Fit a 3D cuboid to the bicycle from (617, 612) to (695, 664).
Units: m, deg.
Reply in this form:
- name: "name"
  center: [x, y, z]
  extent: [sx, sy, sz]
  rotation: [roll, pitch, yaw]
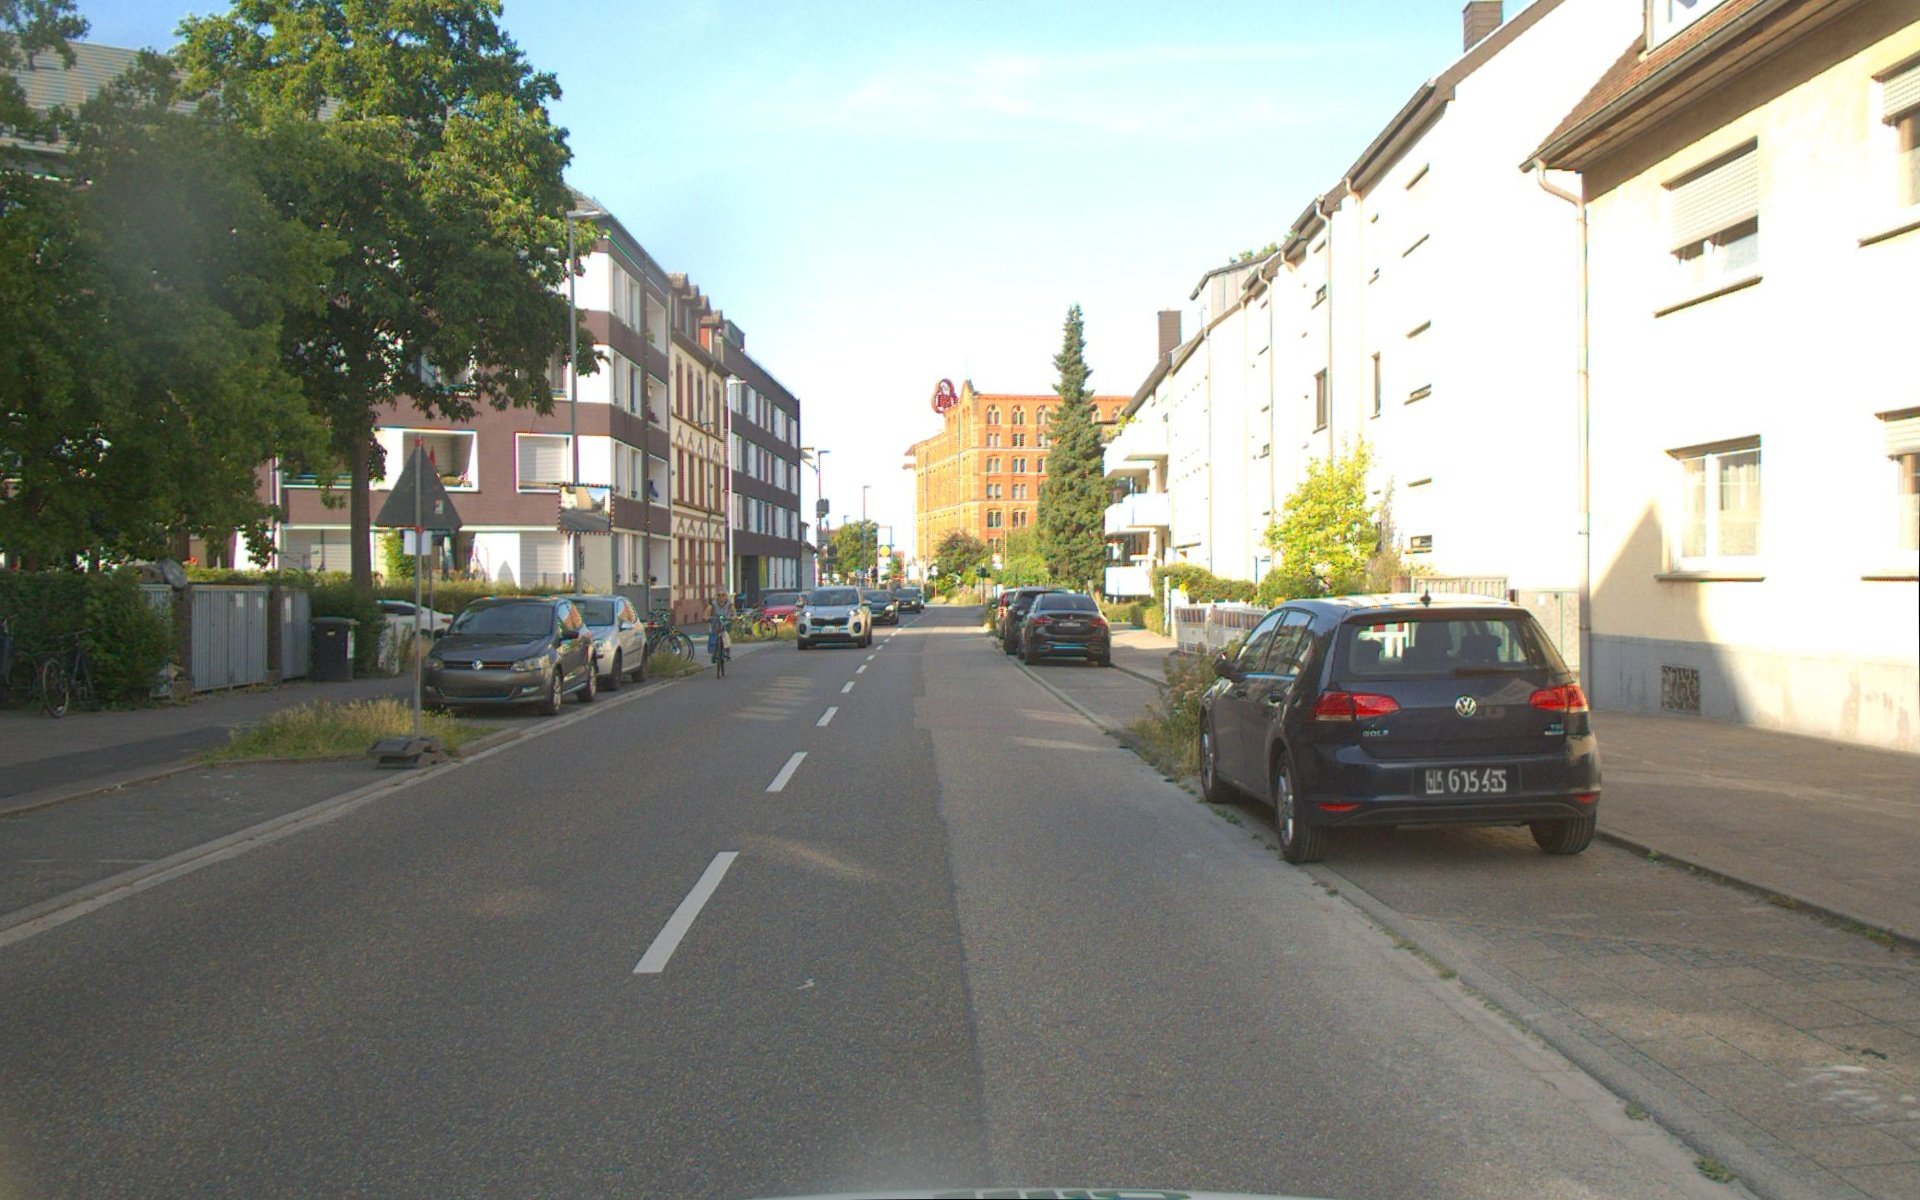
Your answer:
- name: "bicycle"
  center: [-6.398, 0.794, 34.846]
  extent: [1.555, 1.059, 0.707]
  rotation: [-1, 0, -7]

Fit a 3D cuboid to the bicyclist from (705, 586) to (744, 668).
- name: "bicyclist"
  center: [-4.278, 0.488, 30.078]
  extent: [0.578, 1.467, 0.750]
  rotation: [-1, 0, 0]

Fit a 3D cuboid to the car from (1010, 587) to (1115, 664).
- name: "car"
  center: [2.110, 0.500, 34.903]
  extent: [1.821, 1.497, 3.999]
  rotation: [-1, 0, -2]

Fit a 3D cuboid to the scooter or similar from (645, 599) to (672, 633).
- name: "scooter or similar"
  center: [-10.448, 0.545, 57.359]
  extent: [0.620, 1.123, 1.610]
  rotation: [1, 0, -1]

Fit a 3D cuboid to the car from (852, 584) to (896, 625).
- name: "car"
  center: [-3.640, 0.184, 70.464]
  extent: [1.728, 1.644, 3.999]
  rotation: [-1, 0, -2]

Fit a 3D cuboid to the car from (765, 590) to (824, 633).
- name: "car"
  center: [-5.946, 0.401, 59.612]
  extent: [1.803, 1.489, 3.584]
  rotation: [-1, 0, -1]

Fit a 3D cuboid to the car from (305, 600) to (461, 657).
- name: "car"
  center: [-14.450, 0.681, 41.437]
  extent: [3.416, 1.310, 1.645]
  rotation: [-1, 0, -33]

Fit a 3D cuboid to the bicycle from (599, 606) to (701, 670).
- name: "bicycle"
  center: [-6.222, 0.756, 33.260]
  extent: [1.963, 1.238, 0.707]
  rotation: [-1, 0, -7]

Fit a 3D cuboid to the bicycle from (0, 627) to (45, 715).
- name: "bicycle"
  center: [-11.464, 0.841, 19.569]
  extent: [0.452, 1.011, 1.681]
  rotation: [-1, 0, -5]

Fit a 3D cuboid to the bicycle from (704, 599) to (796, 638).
- name: "bicycle"
  center: [-6.575, 0.573, 51.861]
  extent: [2.716, 1.164, 1.143]
  rotation: [-1, 0, -1]

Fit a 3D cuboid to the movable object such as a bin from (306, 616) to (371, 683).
- name: "movable object such as a bin"
  center: [-10.312, 0.815, 27.465]
  extent: [0.737, 1.058, 0.816]
  rotation: [2, 0, -1]

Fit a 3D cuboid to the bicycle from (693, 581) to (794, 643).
- name: "bicycle"
  center: [-6.539, 0.359, 50.089]
  extent: [2.858, 1.808, 1.202]
  rotation: [-1, 0, -1]

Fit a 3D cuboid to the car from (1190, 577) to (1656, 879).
- name: "car"
  center: [2.667, 0.644, 10.504]
  extent: [1.792, 1.508, 3.942]
  rotation: [-1, 0, -1]

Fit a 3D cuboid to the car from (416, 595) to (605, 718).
- name: "car"
  center: [-5.742, 0.666, 21.552]
  extent: [1.542, 1.445, 3.802]
  rotation: [0, 0, -2]

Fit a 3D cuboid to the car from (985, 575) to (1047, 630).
- name: "car"
  center: [1.890, 0.074, 57.270]
  extent: [1.953, 1.803, 3.999]
  rotation: [0, 0, -1]

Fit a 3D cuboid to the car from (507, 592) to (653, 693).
- name: "car"
  center: [-6.149, 0.635, 27.138]
  extent: [1.643, 1.528, 3.998]
  rotation: [0, 0, -3]

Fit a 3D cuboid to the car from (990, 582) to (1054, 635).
- name: "car"
  center: [1.903, 0.251, 51.865]
  extent: [1.728, 1.552, 3.999]
  rotation: [-2, 0, -2]

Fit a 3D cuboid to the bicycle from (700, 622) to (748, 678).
- name: "bicycle"
  center: [-4.273, 0.892, 30.040]
  extent: [0.596, 0.959, 1.811]
  rotation: [0, 0, 0]

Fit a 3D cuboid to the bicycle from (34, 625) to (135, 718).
- name: "bicycle"
  center: [-10.615, 0.849, 20.099]
  extent: [0.452, 1.041, 1.681]
  rotation: [-1, 0, -5]

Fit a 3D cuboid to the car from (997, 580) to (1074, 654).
- name: "car"
  center: [1.793, 0.390, 40.112]
  extent: [1.569, 1.674, 3.684]
  rotation: [-1, 0, -2]

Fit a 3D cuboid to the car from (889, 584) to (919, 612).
- name: "car"
  center: [-3.393, -0.119, 100.024]
  extent: [1.728, 1.644, 3.999]
  rotation: [-1, 0, -2]

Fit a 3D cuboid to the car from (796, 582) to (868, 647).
- name: "car"
  center: [-3.412, 0.355, 44.666]
  extent: [1.728, 1.644, 3.999]
  rotation: [-1, 0, -2]
